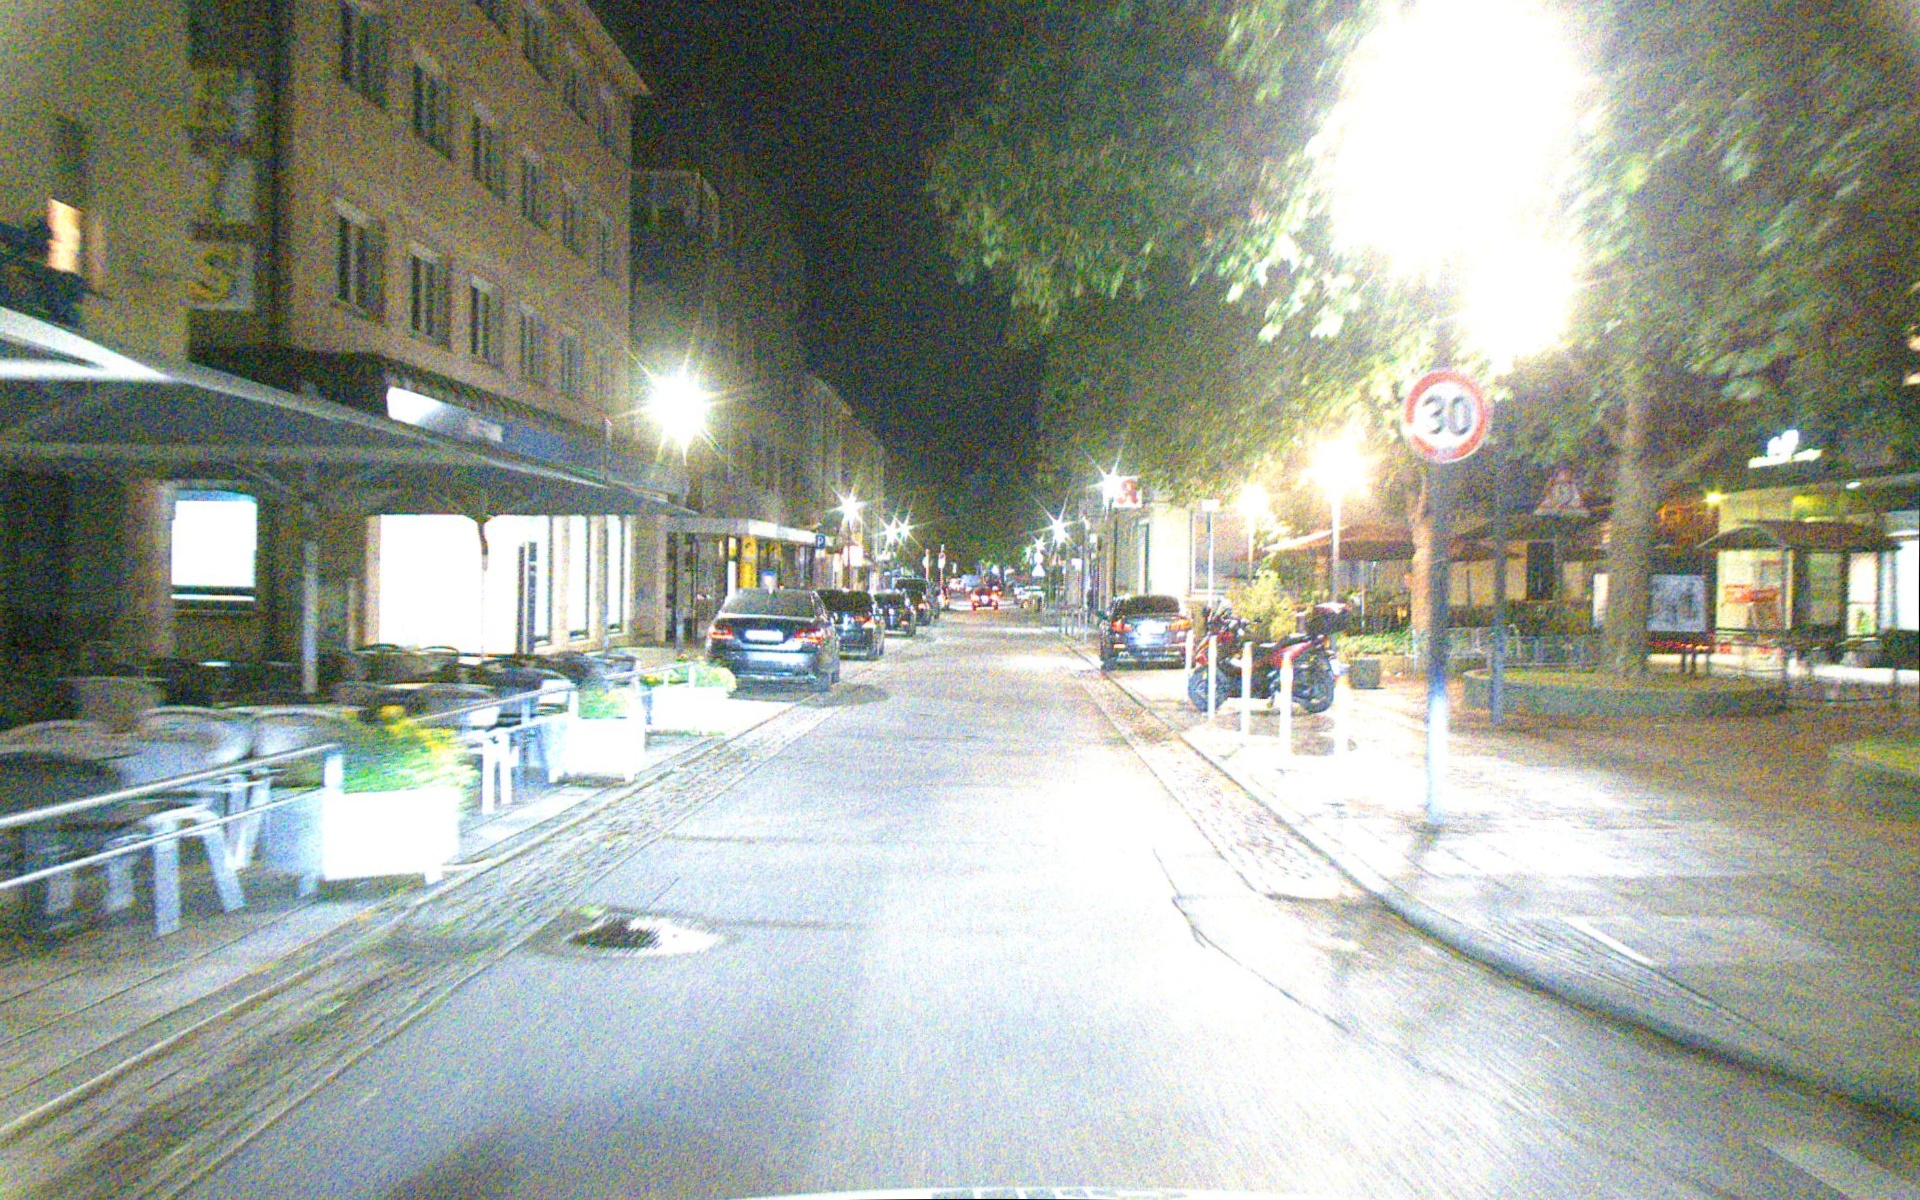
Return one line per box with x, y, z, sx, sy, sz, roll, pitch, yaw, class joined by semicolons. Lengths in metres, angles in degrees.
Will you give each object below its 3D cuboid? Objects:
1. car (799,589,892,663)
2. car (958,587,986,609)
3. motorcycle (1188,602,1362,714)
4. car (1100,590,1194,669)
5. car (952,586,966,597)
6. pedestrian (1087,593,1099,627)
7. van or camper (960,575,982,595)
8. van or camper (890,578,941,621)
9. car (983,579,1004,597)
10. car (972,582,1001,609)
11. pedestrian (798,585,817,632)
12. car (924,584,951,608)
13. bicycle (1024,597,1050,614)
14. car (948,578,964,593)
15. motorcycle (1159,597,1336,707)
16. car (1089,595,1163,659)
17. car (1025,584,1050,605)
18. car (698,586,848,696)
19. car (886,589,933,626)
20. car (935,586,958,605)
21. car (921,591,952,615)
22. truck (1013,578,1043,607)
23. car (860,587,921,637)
-2.491;0.533;36.909;1.807;1.489;4.622;2;0;-1;car
0.918;-0.198;133.738;1.954;1.732;3.997;1;0;-4;car
3.863;0.690;20.440;2.129;1.320;0.513;0;0;39;motorcycle
3.786;0.569;34.067;1.716;1.489;4.469;-1;0;4;car
-0.112;-1.117;211.197;1.501;1.443;3.842;0;0;-4;car
6.100;0.457;76.062;0.490;1.574;0.480;1;0;7;pedestrian
1.320;-1.779;198.367;2.068;2.357;4.257;-1;1;-6;van or camper
-2.156;-0.027;81.627;1.807;1.976;5.157;1;0;6;van or camper
3.494;-1.232;172.299;1.779;1.860;4.342;0;0;-5;car
1.832;-0.327;115.960;1.953;1.855;4.000;1;0;0;car
-5.812;0.308;63.040;0.608;1.776;1.023;1;0;1;pedestrian
-1.454;-0.285;107.859;1.693;1.502;3.846;2;0;0;car
5.105;0.368;109.937;1.719;1.080;0.346;0;0;-2;bicycle
-0.555;-1.881;217.204;1.803;1.934;3.842;0;0;-4;car
3.811;0.672;21.980;2.219;1.415;0.660;0;0;26;motorcycle
3.939;0.616;39.693;1.626;1.401;4.106;-1;0;4;car
5.635;-0.423;121.101;1.752;1.517;4.060;-1;0;2;car
-2.745;0.562;25.184;1.861;1.496;4.523;1;0;-2;car
-2.090;0.307;69.535;1.681;1.437;4.386;2;0;1;car
-1.171;-0.383;141.366;1.641;1.570;4.226;1;0;-5;car
-1.580;0.199;113.191;1.978;1.513;5.007;3;0;0;car
5.578;-0.664;136.752;2.288;2.352;5.781;0;1;0;truck
-2.266;0.387;54.987;1.760;1.503;4.321;3;0;0;car
